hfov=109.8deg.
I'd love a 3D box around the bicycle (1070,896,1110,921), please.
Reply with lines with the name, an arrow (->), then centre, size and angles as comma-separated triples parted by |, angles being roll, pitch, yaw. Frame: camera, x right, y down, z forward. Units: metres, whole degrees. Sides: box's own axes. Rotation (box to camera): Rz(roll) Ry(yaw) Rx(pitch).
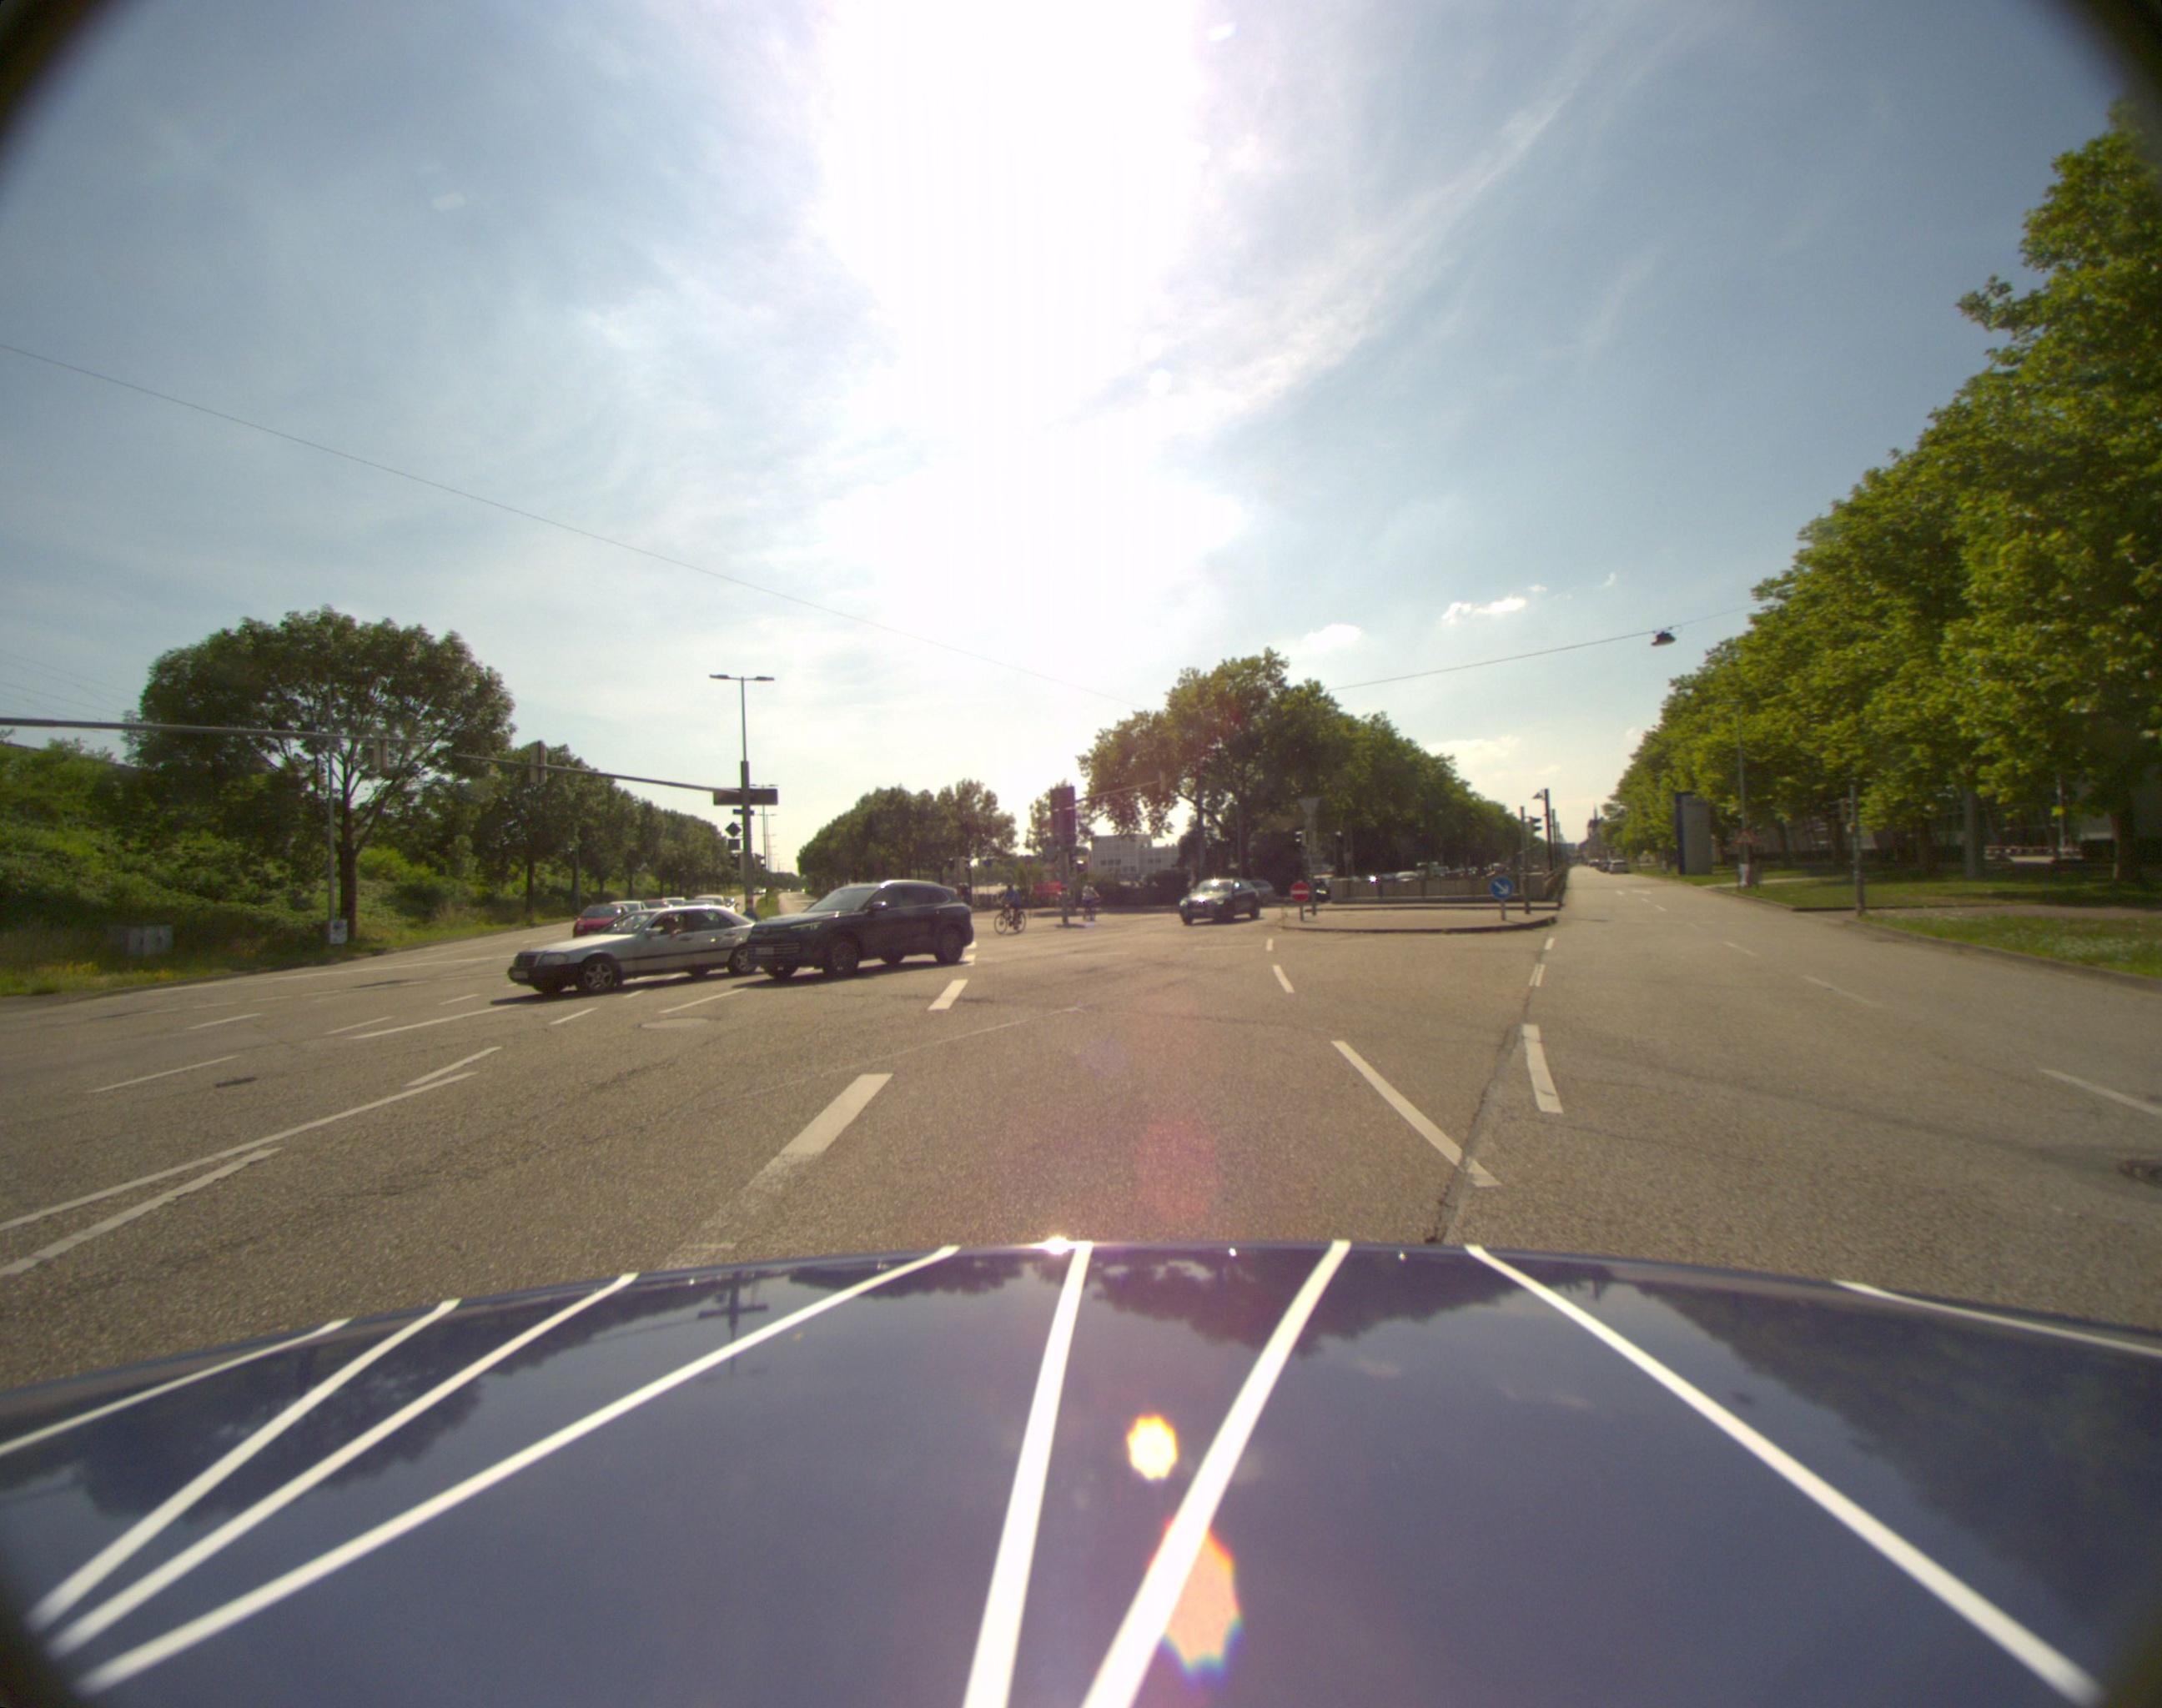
bicycle -> 0.398, 2.464, 34.721 | 0.774, 1.047, 2.396 | -2, -1, -27

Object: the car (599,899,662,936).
car -> -20.882, 2.926, 35.367 | 1.717, 1.498, 3.996 | -2, -3, -19

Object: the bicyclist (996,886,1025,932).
bicyclist -> -2.489, 1.938, 26.969 | 0.546, 1.557, 0.911 | -3, -1, 32

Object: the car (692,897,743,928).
car -> -19.478, 3.111, 40.847 | 1.717, 1.498, 4.208 | -3, -3, -16

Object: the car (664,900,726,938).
car -> -17.643, 2.950, 34.897 | 1.717, 1.498, 3.997 | -3, -3, -16

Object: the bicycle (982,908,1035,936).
bicycle -> -2.546, 2.386, 26.830 | 0.546, 0.830, 2.305 | -3, -1, 32

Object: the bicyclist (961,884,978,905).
bicyclist -> -7.838, 2.816, 53.417 | 0.885, 1.434, 0.964 | -2, -1, -29

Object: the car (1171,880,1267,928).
car -> 5.225, 1.814, 28.287 | 1.826, 1.540, 4.570 | -3, -2, 33

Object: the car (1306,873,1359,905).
car -> 14.584, 2.000, 43.921 | 1.815, 1.603, 4.009 | -5, -3, 33

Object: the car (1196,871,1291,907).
car -> 9.125, 1.965, 42.609 | 5.172, 1.713, 1.996 | -2, -3, -32

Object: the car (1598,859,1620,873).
car -> 68.452, 1.560, 98.553 | 1.899, 1.629, 4.795 | -5, -3, 31

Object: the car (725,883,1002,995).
car -> -3.875, 1.455, 14.511 | 1.944, 1.598, 4.985 | -3, -2, 33

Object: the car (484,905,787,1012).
car -> -7.849, 1.757, 13.868 | 1.712, 1.383, 4.450 | -3, -2, 32

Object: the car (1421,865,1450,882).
car -> 35.522, 1.929, 76.074 | 1.818, 1.520, 4.008 | -3, -2, 35

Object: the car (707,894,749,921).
car -> -22.052, 3.349, 47.573 | 1.717, 1.498, 3.997 | -3, -3, -16

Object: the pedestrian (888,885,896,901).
pedestrian -> -20.189, 4.200, 81.144 | 0.631, 1.699, 0.766 | -2, -1, -23

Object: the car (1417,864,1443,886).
car -> 40.923, 2.457, 89.033 | 2.097, 2.337, 5.647 | -3, -2, 31

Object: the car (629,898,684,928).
car -> -23.198, 3.215, 41.703 | 1.717, 1.498, 3.997 | -3, -3, -16

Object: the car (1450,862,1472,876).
car -> 44.228, 1.757, 88.387 | 1.818, 1.520, 4.008 | -3, -2, 34

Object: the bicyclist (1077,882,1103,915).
bicyclist -> 0.413, 2.010, 34.678 | 0.774, 1.427, 0.919 | -2, -1, -27

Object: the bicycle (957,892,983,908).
bicycle -> -7.805, 3.243, 53.361 | 0.885, 1.053, 2.767 | -2, -2, -29

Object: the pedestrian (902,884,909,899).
pedestrian -> -18.437, 3.924, 79.868 | 0.579, 1.515, 0.878 | -2, -1, -23

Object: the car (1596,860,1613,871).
car -> 83.115, 1.846, 120.707 | 1.899, 1.629, 4.009 | -5, -3, 31

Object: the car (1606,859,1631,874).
car -> 60.802, 1.422, 85.971 | 1.899, 1.629, 4.009 | -5, -3, 31

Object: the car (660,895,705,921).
car -> -25.395, 3.458, 48.514 | 1.717, 1.498, 3.997 | -3, -3, -16

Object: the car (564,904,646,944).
car -> -18.957, 2.737, 30.435 | 1.717, 1.384, 3.997 | -3, -3, -16

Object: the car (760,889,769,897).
car -> -78.349, 9.644, 188.192 | 2.002, 1.739, 4.266 | -2, -2, -21
